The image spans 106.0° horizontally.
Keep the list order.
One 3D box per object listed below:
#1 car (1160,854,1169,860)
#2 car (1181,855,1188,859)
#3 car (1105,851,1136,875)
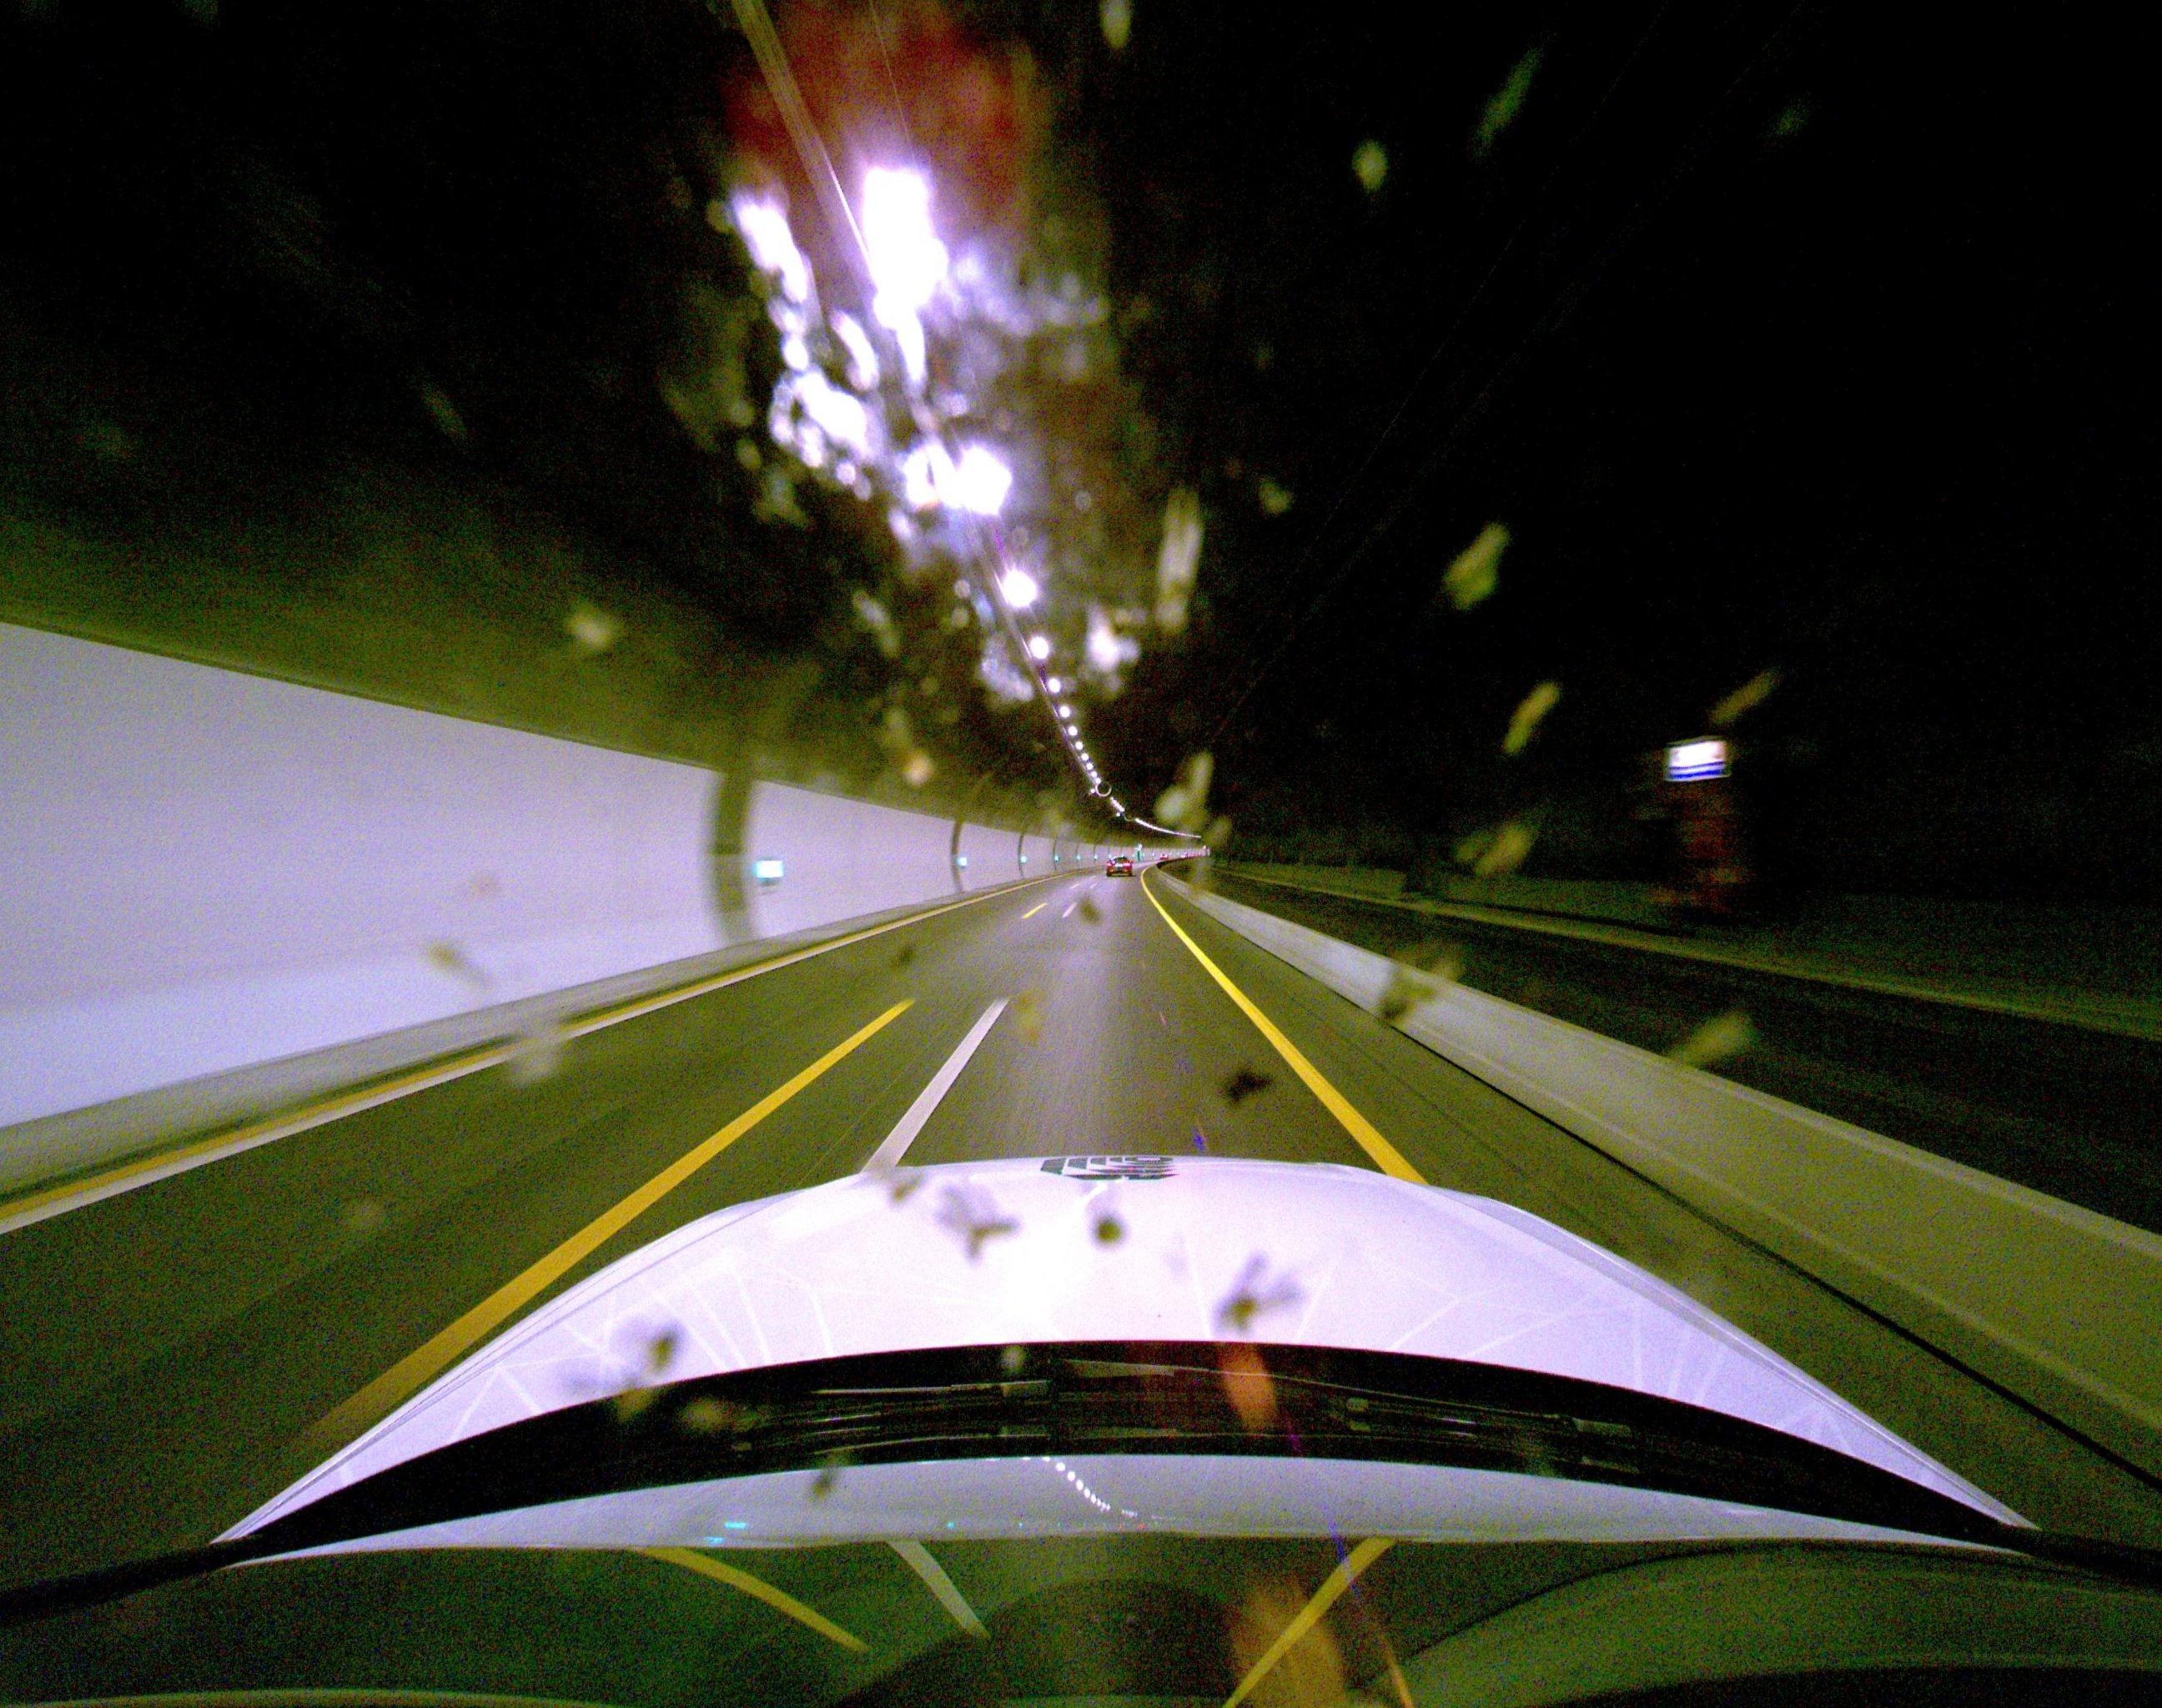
[{"bbox_3d":[21.408,0.870,209.093,2.151,1.486,4.011,-1,0,10],"label":"car"},{"bbox_3d":[29.465,0.830,232.009,1.584,1.333,3.762,-1,0,11],"label":"car"},{"bbox_3d":[2.950,0.618,59.997,2.132,1.706,4.004,-1,0,4],"label":"car"}]
